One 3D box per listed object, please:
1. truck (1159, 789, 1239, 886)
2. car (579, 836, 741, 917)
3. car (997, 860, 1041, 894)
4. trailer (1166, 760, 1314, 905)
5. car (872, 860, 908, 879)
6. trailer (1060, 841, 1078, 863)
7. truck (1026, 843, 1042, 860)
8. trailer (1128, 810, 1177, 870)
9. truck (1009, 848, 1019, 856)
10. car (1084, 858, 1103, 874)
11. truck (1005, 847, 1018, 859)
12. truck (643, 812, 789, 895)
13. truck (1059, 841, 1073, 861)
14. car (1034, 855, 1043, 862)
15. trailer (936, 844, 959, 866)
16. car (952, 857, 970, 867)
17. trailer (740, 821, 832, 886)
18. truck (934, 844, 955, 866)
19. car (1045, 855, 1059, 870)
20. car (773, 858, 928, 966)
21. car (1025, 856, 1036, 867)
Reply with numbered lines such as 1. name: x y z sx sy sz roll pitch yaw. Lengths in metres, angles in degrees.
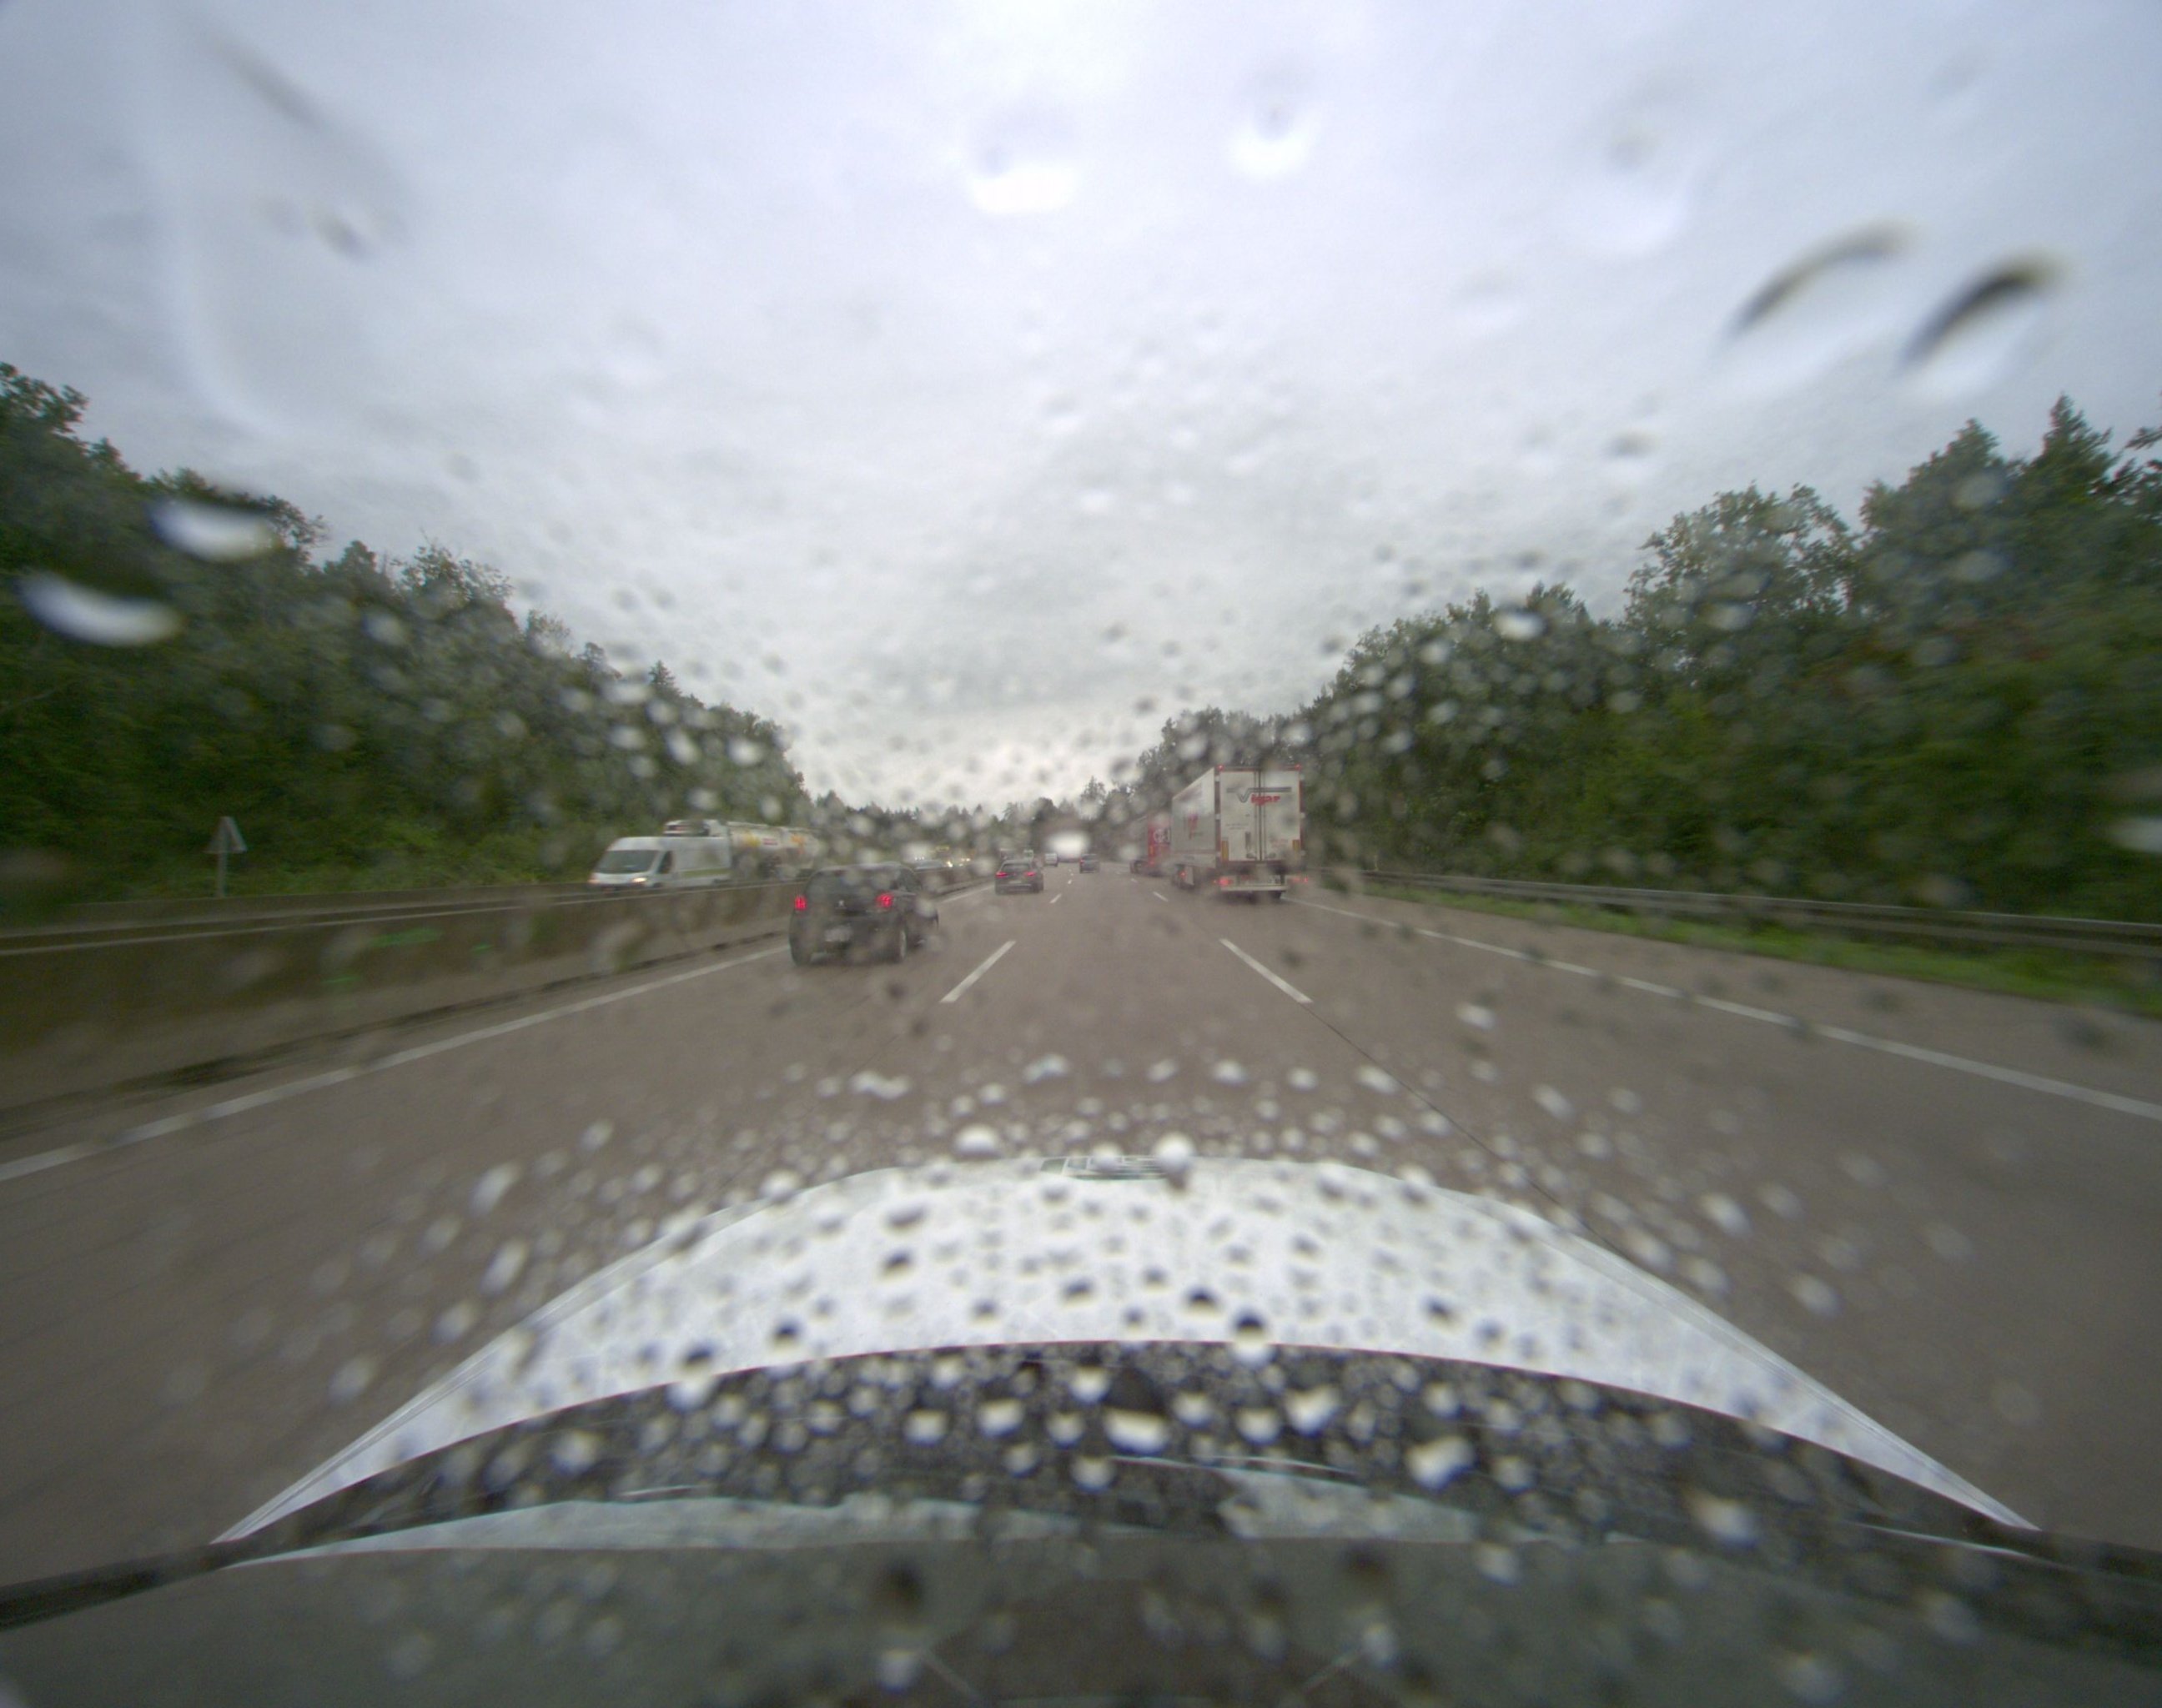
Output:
1. truck: 5.336 -0.716 37.835 2.789 4.103 5.967 -1 0 0
2. car: -14.335 0.702 28.368 1.986 2.449 6.747 -1 0 1
3. car: -2.605 0.951 35.077 1.548 1.351 3.684 1 0 1
4. trailer: 5.288 -0.627 30.282 2.725 4.103 13.680 -1 0 0
5. car: -15.061 1.184 64.492 1.653 1.371 4.721 -1 0 1
6. trailer: -2.480 -0.448 162.114 2.416 4.068 12.030 -1 1 -6
7. truck: -12.369 -0.730 213.636 3.368 4.131 10.406 -1 1 -9
8. trailer: 5.092 -0.965 60.065 2.363 3.953 12.516 0 0 -1
9. truck: -20.039 -0.562 244.762 2.969 2.309 6.657 1 0 -4
10. car: 1.091 1.022 71.470 1.549 1.351 3.683 1 0 0
11. truck: -18.893 -0.309 222.199 3.075 2.905 7.897 -1 1 -2
12. truck: -18.211 -0.040 41.711 2.555 3.667 10.493 -1 0 1
13. truck: -3.169 -0.582 169.167 2.416 4.068 4.969 -1 1 -5
14. car: -9.461 1.067 182.199 1.877 1.473 3.997 1 0 -2
15. trailer: -25.631 0.224 156.807 3.008 3.874 13.680 -1 0 -4
16. car: -16.621 1.120 113.141 1.797 1.333 4.562 -1 0 -1
17. trailer: -18.052 -0.047 50.516 2.537 3.667 8.231 -1 0 1
18. truck: -25.151 0.261 150.182 3.020 3.874 8.104 -1 0 -4
19. car: -3.978 1.110 112.532 1.722 2.013 3.652 -2 0 -4
20. car: -3.525 0.812 13.119 1.681 1.462 3.678 1 0 -4
21. car: -9.802 1.395 158.396 1.991 2.059 3.991 -2 0 -6
